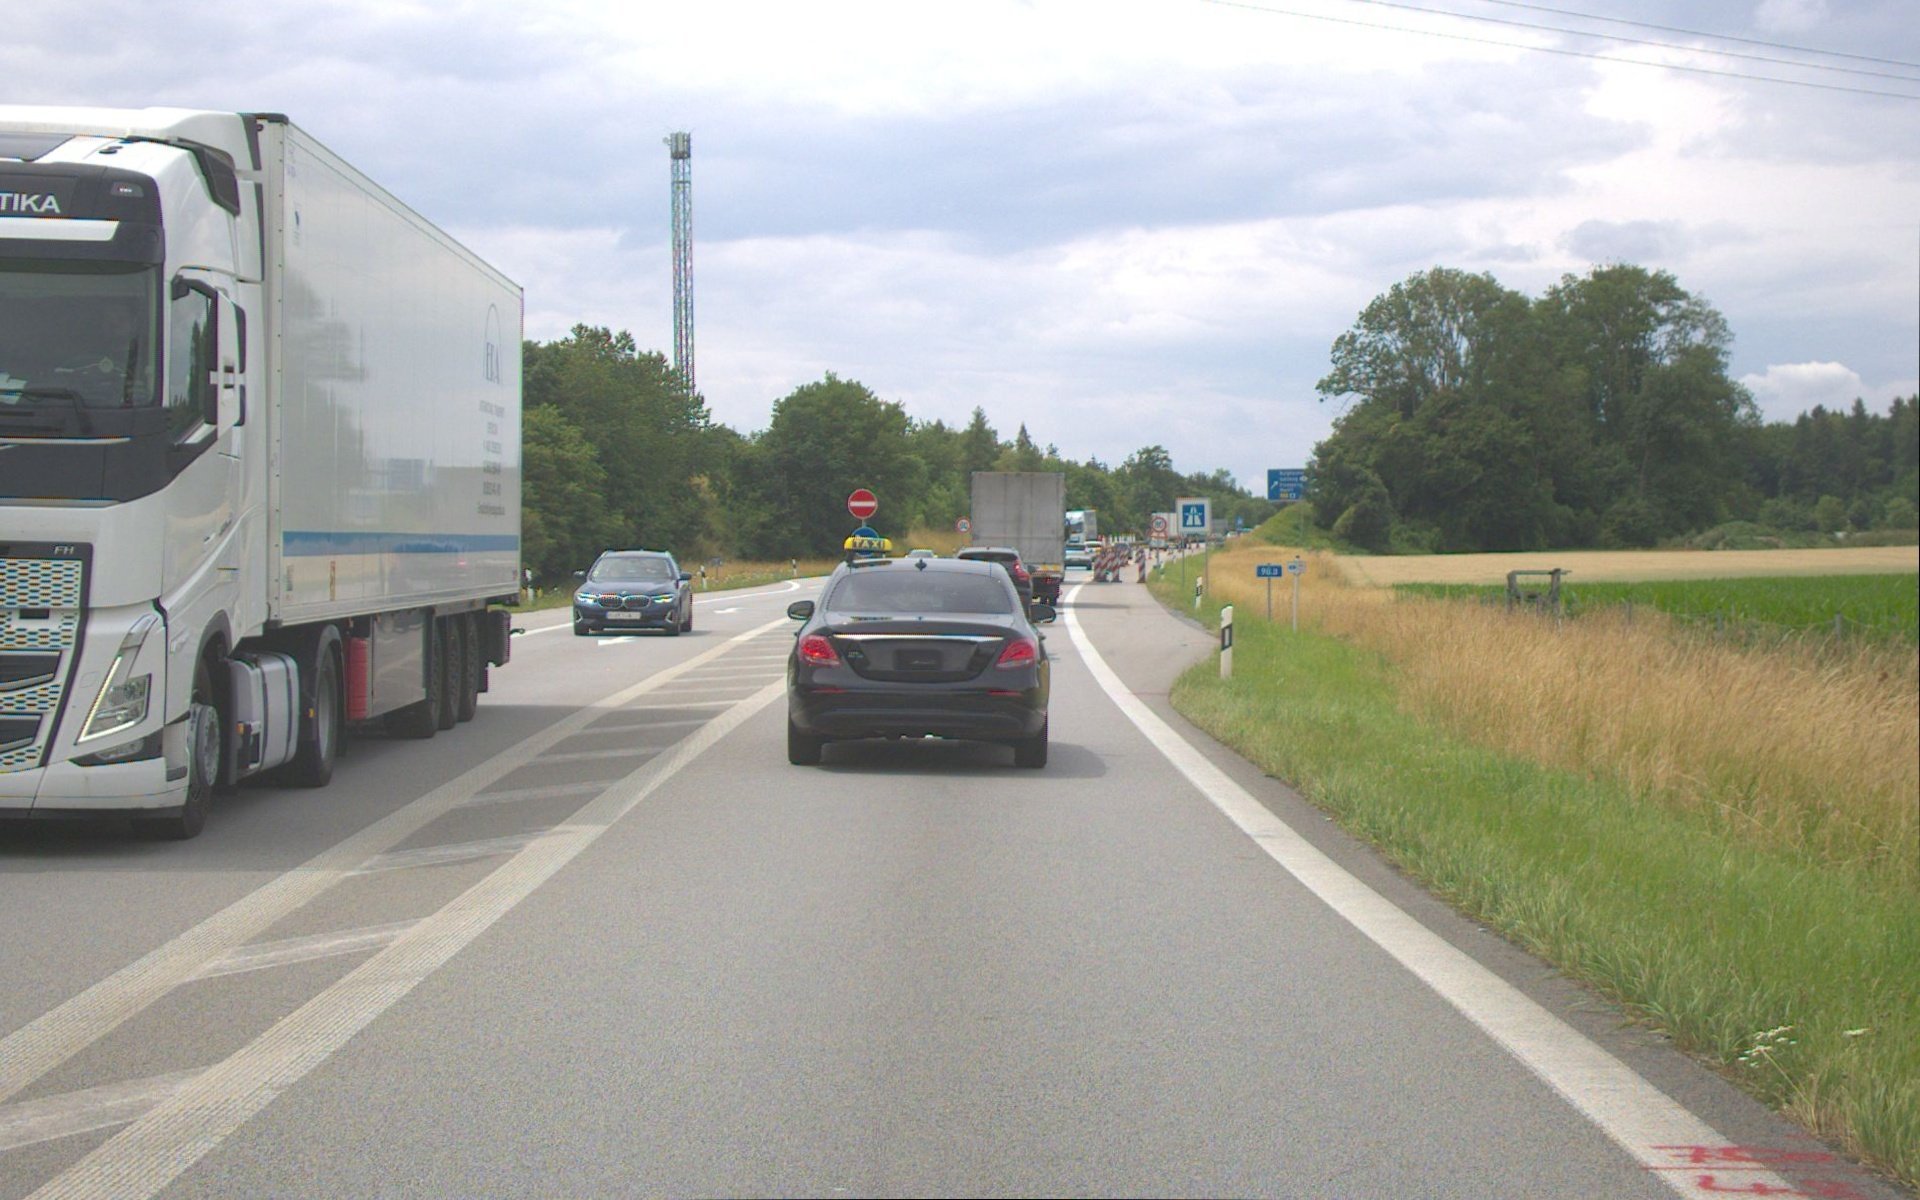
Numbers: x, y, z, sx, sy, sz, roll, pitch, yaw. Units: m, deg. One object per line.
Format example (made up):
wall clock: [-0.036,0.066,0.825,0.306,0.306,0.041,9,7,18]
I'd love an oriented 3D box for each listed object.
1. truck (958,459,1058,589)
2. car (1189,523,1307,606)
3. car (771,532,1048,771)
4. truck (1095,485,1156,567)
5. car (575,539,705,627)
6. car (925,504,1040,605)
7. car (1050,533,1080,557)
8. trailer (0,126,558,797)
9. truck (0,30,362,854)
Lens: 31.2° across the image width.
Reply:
truck: [1.386,-2.112,96.789,2.587,3.512,4.812,1,0,3]
car: [6.044,-0.749,72.468,1.795,1.657,4.001,1,1,-5]
car: [-0.287,0.323,24.927,1.796,1.554,4.000,1,1,2]
truck: [7.262,-3.235,151.262,1.993,3.513,4.593,1,0,-5]
car: [-5.730,-0.315,62.048,1.857,1.474,5.198,1,1,0]
car: [0.442,-0.949,71.763,1.993,2.007,4.001,1,0,-5]
car: [6.395,-3.373,209.877,1.649,1.391,3.706,1,1,0]
trailer: [-5.095,-0.971,26.971,2.489,3.982,13.077,0,1,-1]
truck: [-5.018,-0.822,19.228,2.489,3.982,5.205,0,1,-1]
